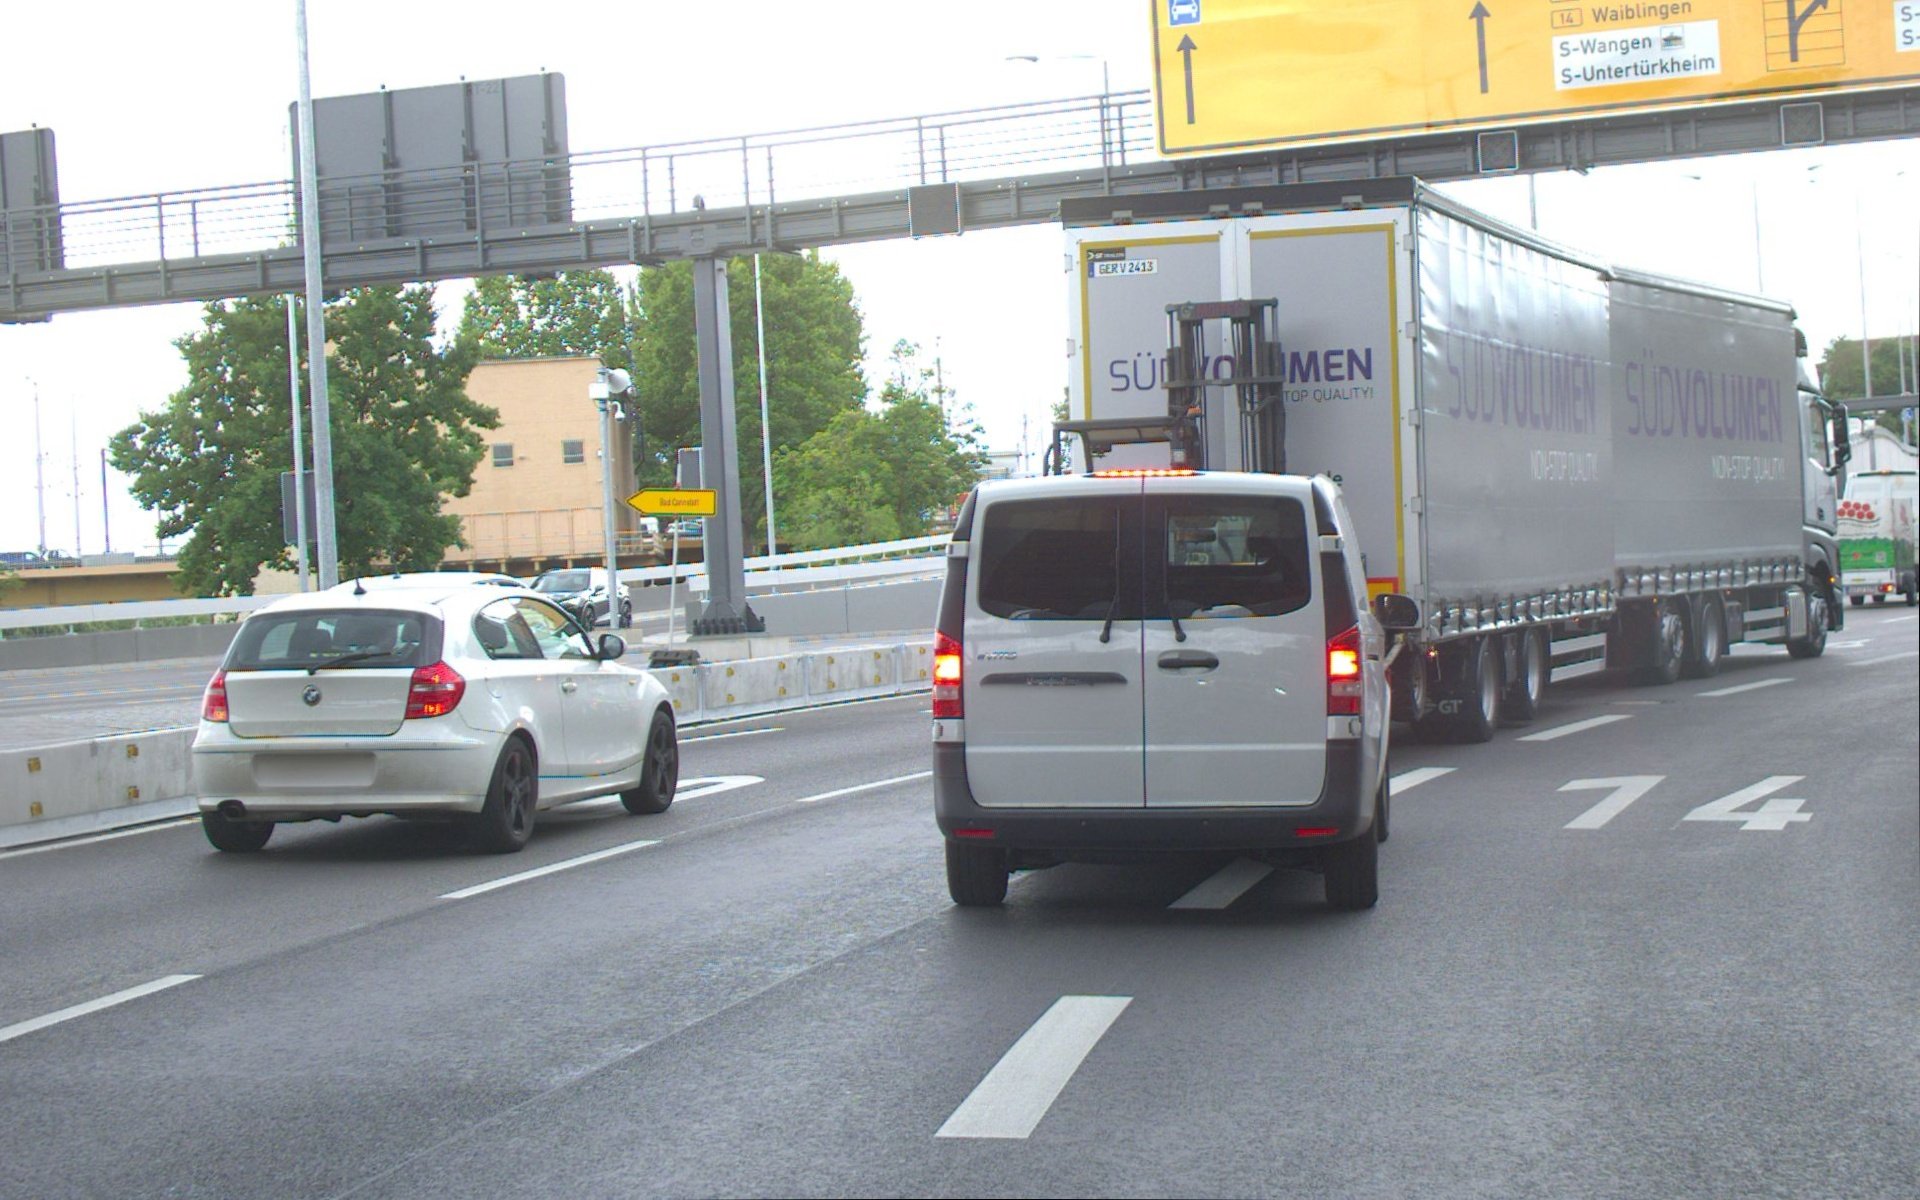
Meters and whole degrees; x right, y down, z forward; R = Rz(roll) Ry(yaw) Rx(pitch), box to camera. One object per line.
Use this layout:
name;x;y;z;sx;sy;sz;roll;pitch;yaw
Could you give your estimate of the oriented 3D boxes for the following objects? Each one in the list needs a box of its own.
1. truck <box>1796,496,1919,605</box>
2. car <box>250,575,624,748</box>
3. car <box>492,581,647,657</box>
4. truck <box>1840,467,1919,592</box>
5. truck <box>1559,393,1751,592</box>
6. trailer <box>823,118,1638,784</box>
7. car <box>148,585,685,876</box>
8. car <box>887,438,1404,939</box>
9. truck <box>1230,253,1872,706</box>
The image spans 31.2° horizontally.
truck;17.371;-0.937;66.058;1.996;2.024;3.828;1;1;22
car;-4.642;0.508;31.059;1.745;1.428;3.772;1;1;20
car;-8.673;0.401;76.724;1.995;1.579;4.133;2;1;15
truck;19.287;-1.397;69.827;1.996;2.467;3.994;1;1;25
truck;13.025;-1.896;63.871;3.065;3.409;9.152;1;1;14
trailer;2.684;-0.972;27.215;3.728;4.127;10.973;-1;0;19
car;-2.935;0.648;19.457;1.744;1.428;3.998;1;1;11
car;1.071;0.349;16.476;1.994;1.983;5.198;-1;0;8
truck;6.784;-1.172;37.243;3.730;4.127;10.968;-1;0;27
